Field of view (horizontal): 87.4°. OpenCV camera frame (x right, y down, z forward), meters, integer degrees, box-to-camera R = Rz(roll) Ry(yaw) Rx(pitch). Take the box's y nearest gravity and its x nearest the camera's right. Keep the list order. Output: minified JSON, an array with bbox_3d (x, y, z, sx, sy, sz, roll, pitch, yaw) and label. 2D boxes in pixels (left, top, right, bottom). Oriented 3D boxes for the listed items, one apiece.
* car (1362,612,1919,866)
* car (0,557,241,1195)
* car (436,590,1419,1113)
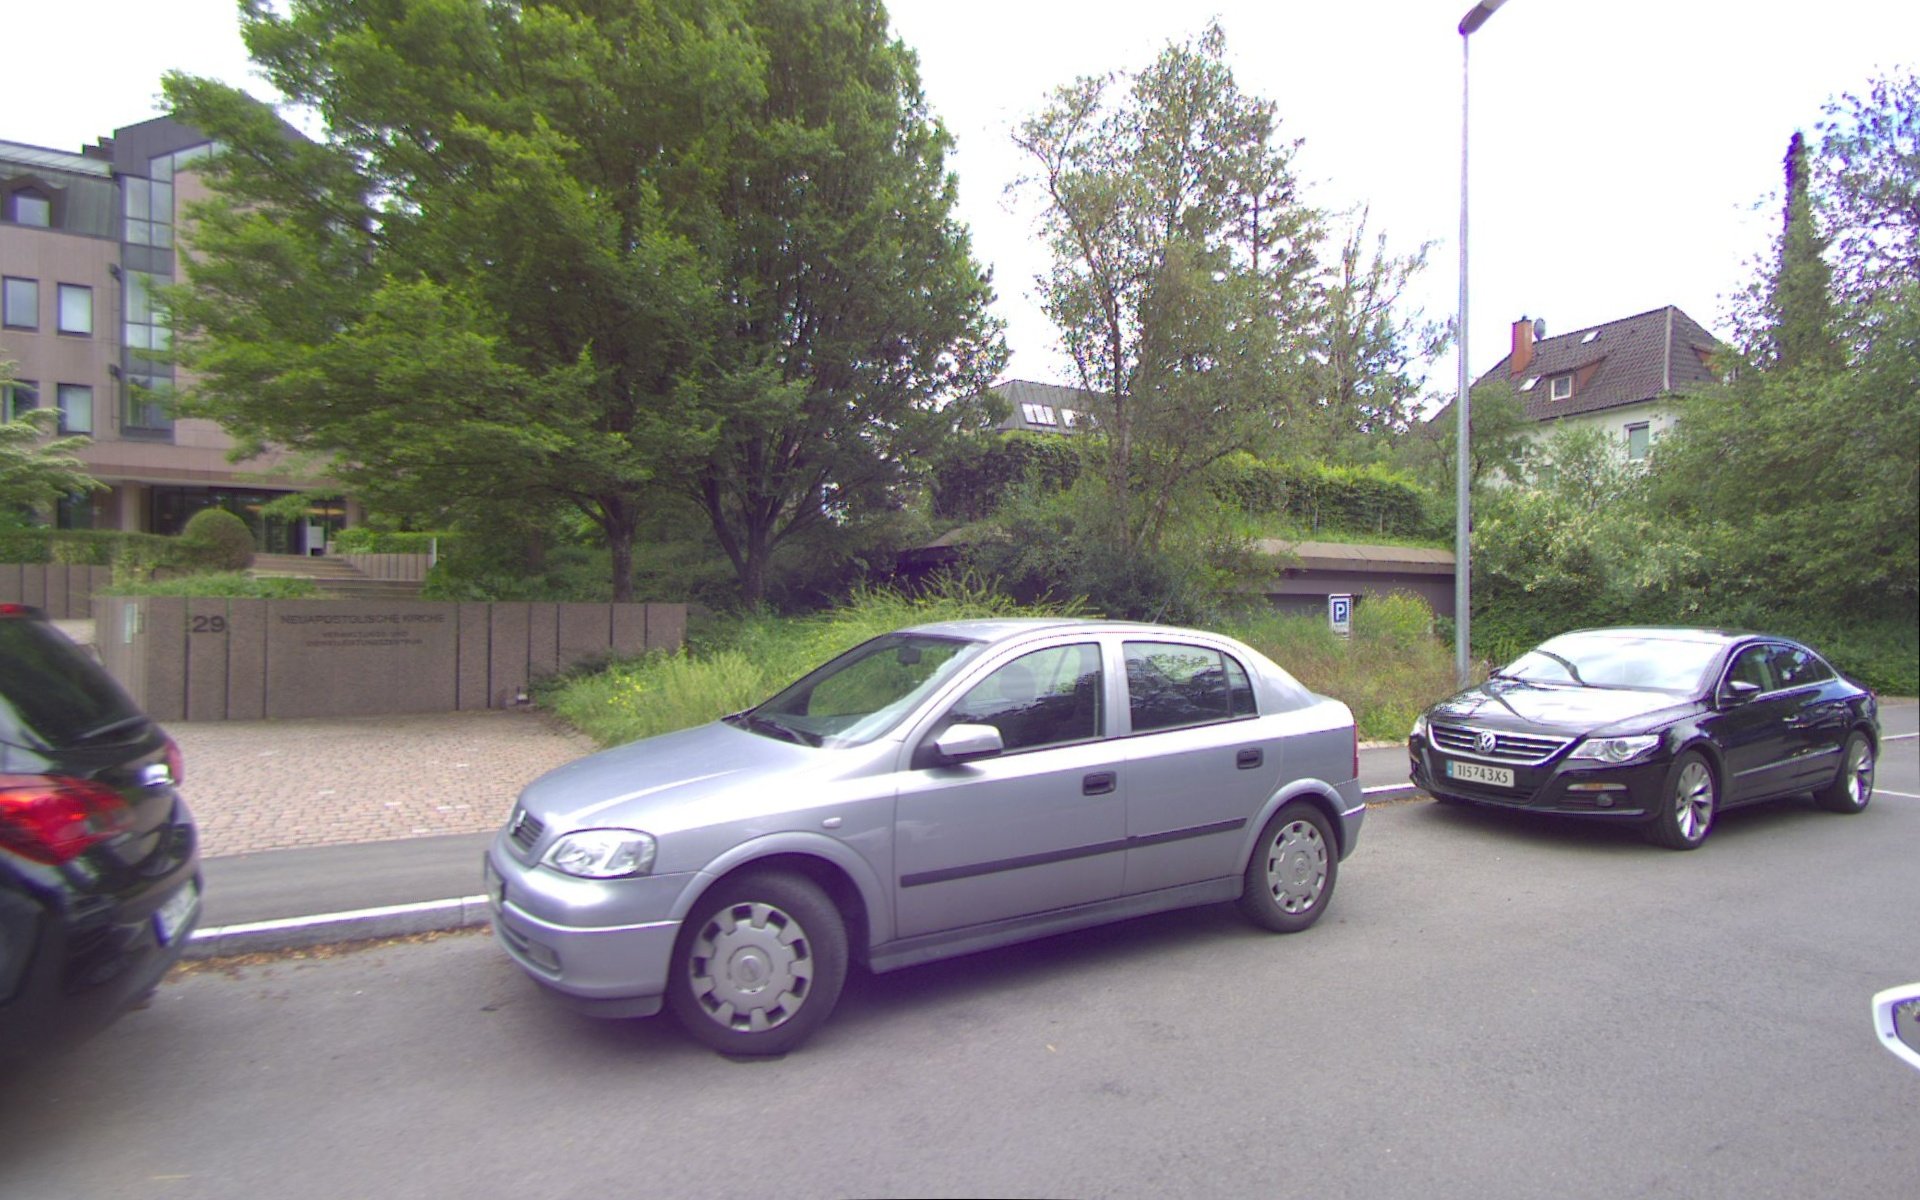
[{"bbox_3d":[5.558,0.861,7.938,5.047,1.451,1.769,1,0,-32],"label":"car"},{"bbox_3d":[-4.119,0.632,2.206,3.953,1.502,1.616,1,-1,-31],"label":"car"},{"bbox_3d":[0.069,0.746,4.619,4.302,1.451,1.616,1,-1,-32],"label":"car"}]
